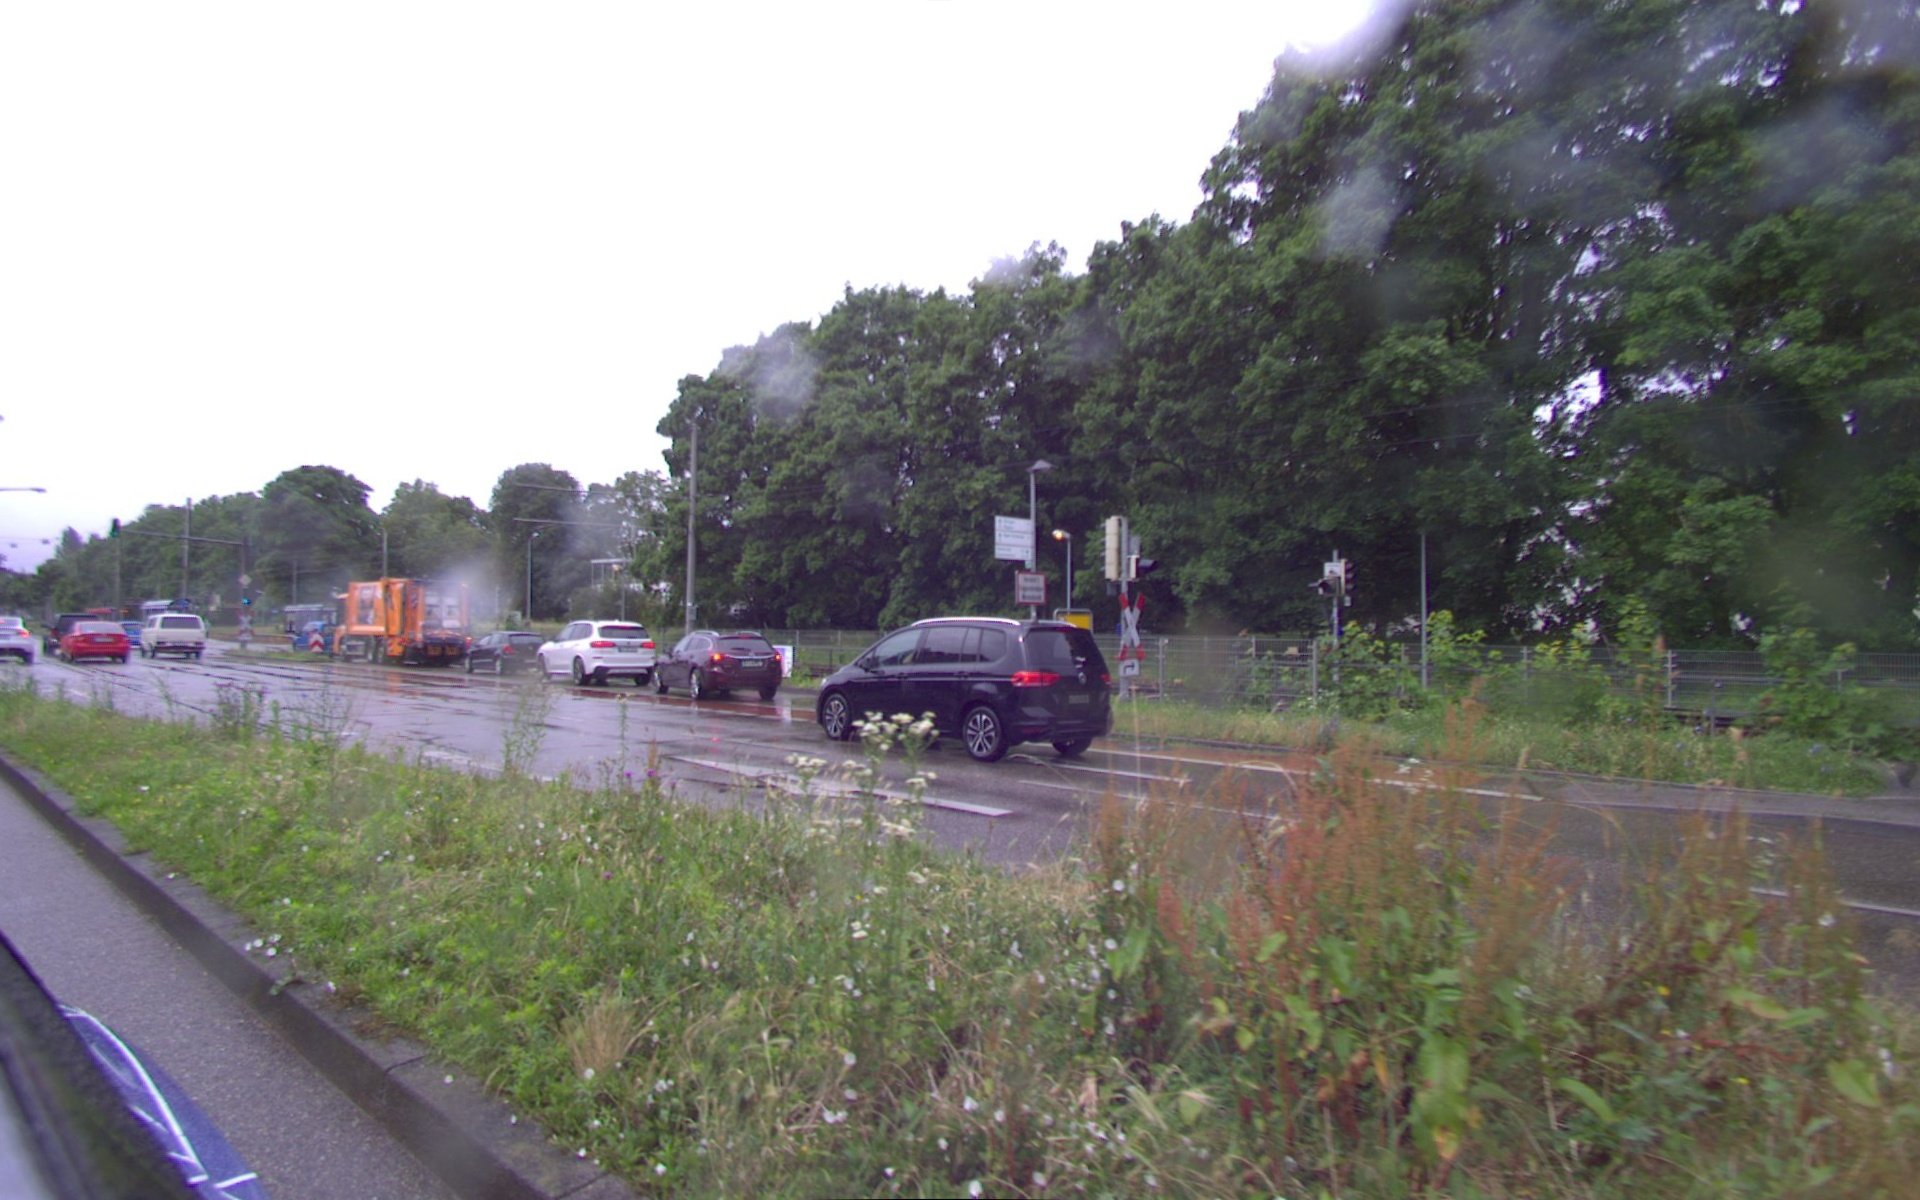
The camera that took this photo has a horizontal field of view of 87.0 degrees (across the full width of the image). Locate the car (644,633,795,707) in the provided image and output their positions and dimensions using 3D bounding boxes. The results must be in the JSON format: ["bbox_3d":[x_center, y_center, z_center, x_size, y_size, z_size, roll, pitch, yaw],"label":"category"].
[{"bbox_3d":[-5.539,1.498,22.917,1.847,1.497,4.518,1,-2,-34],"label":"car"}]

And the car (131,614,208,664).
[{"bbox_3d":[-34.608,1.704,44.274,4.743,2.033,1.907,-1,-4,44],"label":"car"}]

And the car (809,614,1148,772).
[{"bbox_3d":[0.079,1.052,12.818,1.687,1.654,4.333,4,-3,-45],"label":"car"}]

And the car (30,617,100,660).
[{"bbox_3d":[-39.318,1.695,44.418,5.089,1.787,1.786,-1,-3,43],"label":"car"}]

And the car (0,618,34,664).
[{"bbox_3d":[-35.279,1.472,36.857,4.697,1.629,1.939,-2,-3,43],"label":"car"}]

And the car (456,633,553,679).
[{"bbox_3d":[-14.993,1.820,33.263,3.686,1.389,1.570,-1,-4,43],"label":"car"}]

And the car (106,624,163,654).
[{"bbox_3d":[-42.992,2.004,52.698,3.998,1.438,1.623,-1,-3,41],"label":"car"}]

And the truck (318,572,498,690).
[{"bbox_3d":[-22.503,1.099,40.864,10.408,4.199,3.348,-1,0,44],"label":"truck"}]

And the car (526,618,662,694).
[{"bbox_3d":[-10.330,1.476,28.352,1.969,1.841,4.778,-2,1,-41],"label":"car"}]

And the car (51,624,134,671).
[{"bbox_3d":[-32.164,1.726,37.481,4.429,1.581,1.781,0,-3,43],"label":"car"}]

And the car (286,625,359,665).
[{"bbox_3d":[-30.803,2.114,48.853,4.528,1.722,1.971,-1,0,45],"label":"car"}]
